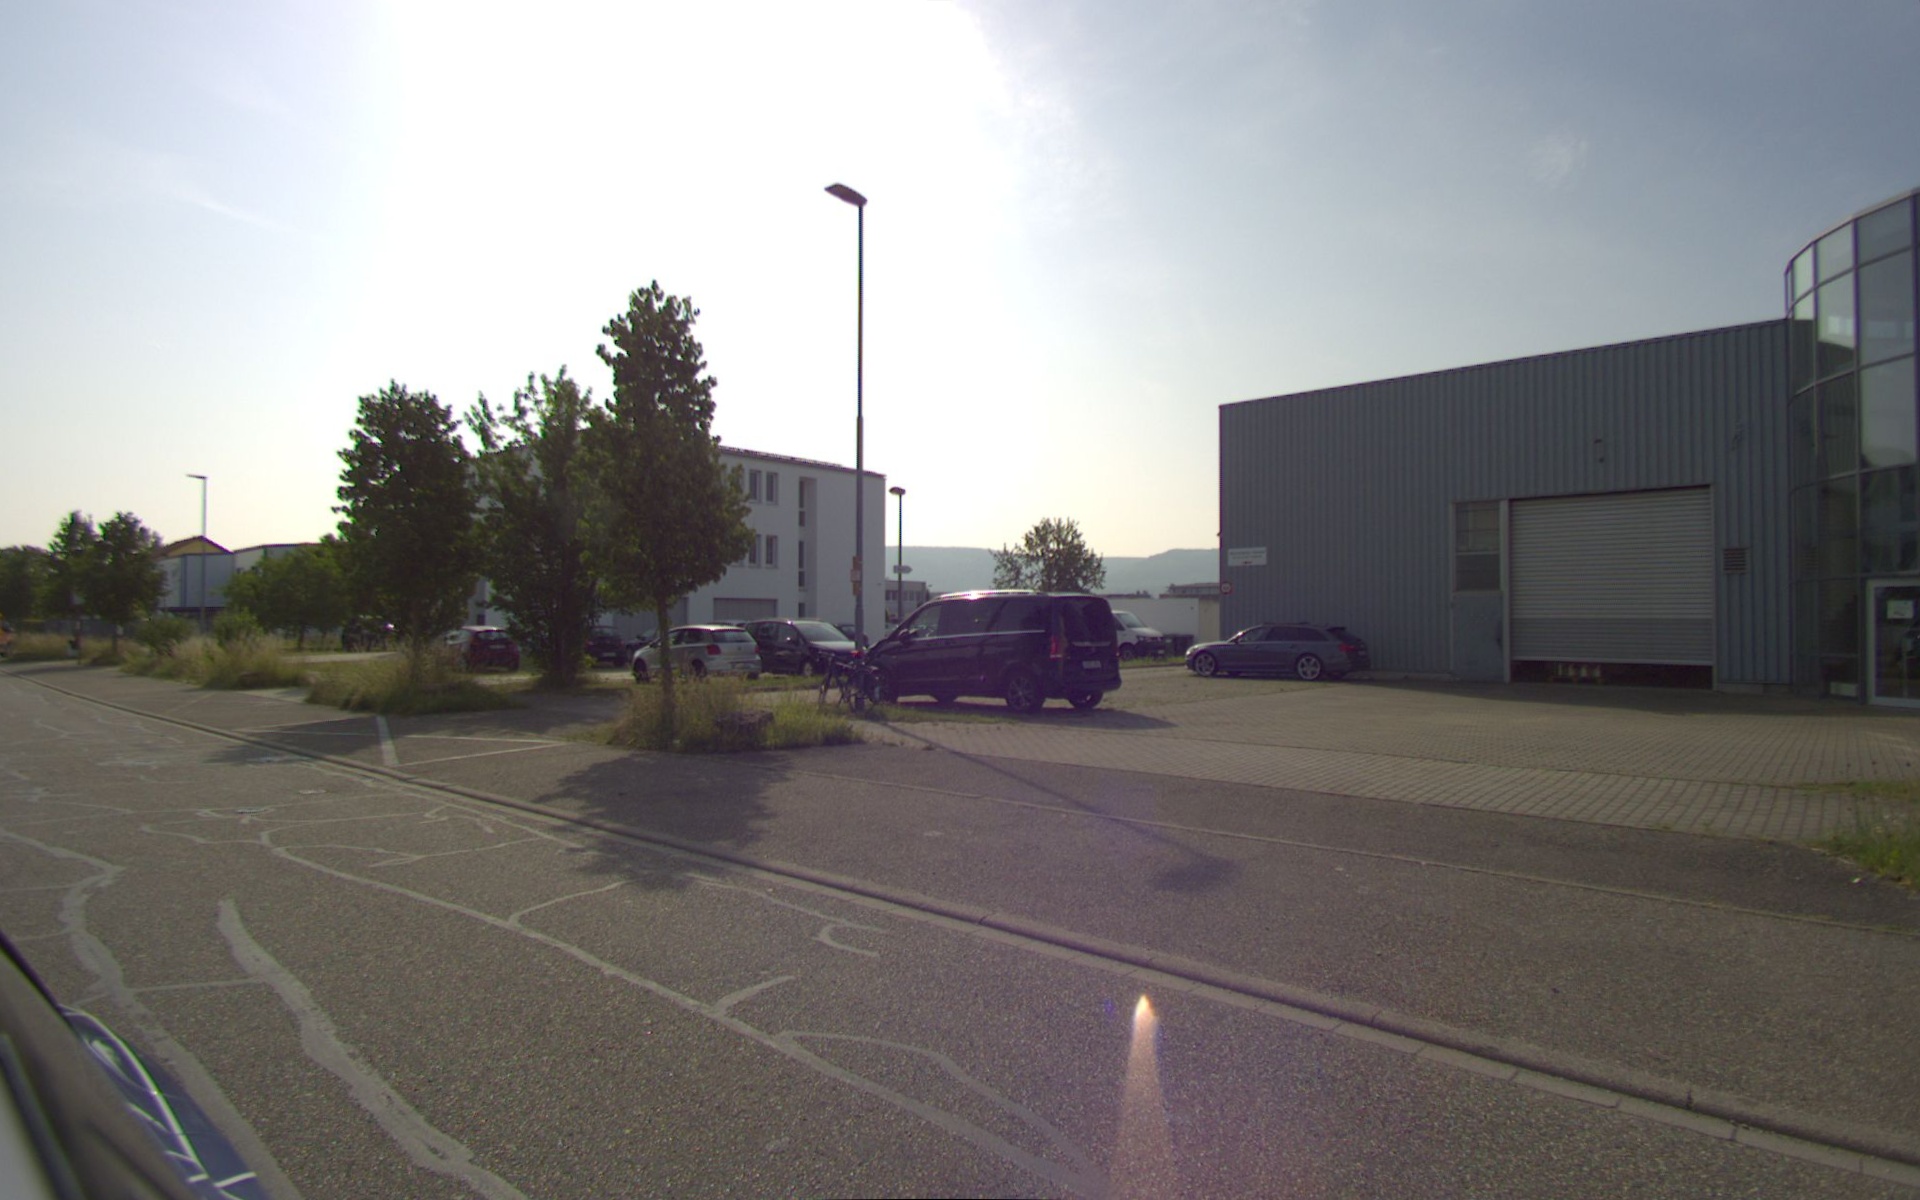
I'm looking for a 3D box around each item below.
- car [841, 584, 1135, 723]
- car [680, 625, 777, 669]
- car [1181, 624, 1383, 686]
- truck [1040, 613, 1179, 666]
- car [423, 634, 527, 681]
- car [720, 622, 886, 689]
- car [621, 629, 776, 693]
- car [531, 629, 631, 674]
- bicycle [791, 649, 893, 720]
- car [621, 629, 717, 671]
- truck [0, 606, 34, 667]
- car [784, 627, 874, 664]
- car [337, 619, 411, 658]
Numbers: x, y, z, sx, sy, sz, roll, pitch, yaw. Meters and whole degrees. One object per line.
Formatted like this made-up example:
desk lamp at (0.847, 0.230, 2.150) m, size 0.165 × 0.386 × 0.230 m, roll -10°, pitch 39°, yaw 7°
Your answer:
car at (0.334, 0.868, 17.180) m, size 4.989 × 2.029 × 1.862 m, roll -2°, pitch -3°, yaw 42°
car at (-9.160, 1.809, 39.958) m, size 3.918 × 1.631 × 1.885 m, roll -2°, pitch -2°, yaw 43°
car at (8.360, 1.398, 26.599) m, size 4.780 × 1.472 × 1.697 m, roll -2°, pitch -2°, yaw 42°
truck at (5.639, 1.480, 38.636) m, size 4.947 × 1.918 × 1.974 m, roll -1°, pitch -2°, yaw 39°
car at (-15.815, 1.813, 32.915) m, size 3.918 × 1.420 × 1.735 m, roll -2°, pitch -2°, yaw 43°
car at (-4.218, 1.416, 26.786) m, size 4.507 × 1.619 × 1.922 m, roll -2°, pitch -2°, yaw 41°
car at (-6.496, 1.449, 24.972) m, size 3.915 × 1.460 × 1.767 m, roll -2°, pitch -2°, yaw 40°
car at (-13.376, 1.777, 35.594) m, size 3.918 × 1.479 × 1.735 m, roll -2°, pitch -2°, yaw 43°
bicycle at (-1.844, 1.275, 15.630) m, size 0.534 × 0.986 × 1.872 m, roll 1°, pitch -2°, yaw -44°
car at (-10.990, 1.844, 38.115) m, size 3.918 × 1.479 × 1.735 m, roll -2°, pitch -2°, yaw 43°
truck at (-46.321, 1.674, 47.381) m, size 2.472 × 2.855 × 8.869 m, roll 3°, pitch -4°, yaw -31°
car at (-5.645, 1.913, 43.354) m, size 3.918 × 1.479 × 1.735 m, roll -2°, pitch -2°, yaw 43°
car at (-29.073, 1.889, 50.155) m, size 4.696 × 1.852 × 1.971 m, roll -2°, pitch -2°, yaw 44°
